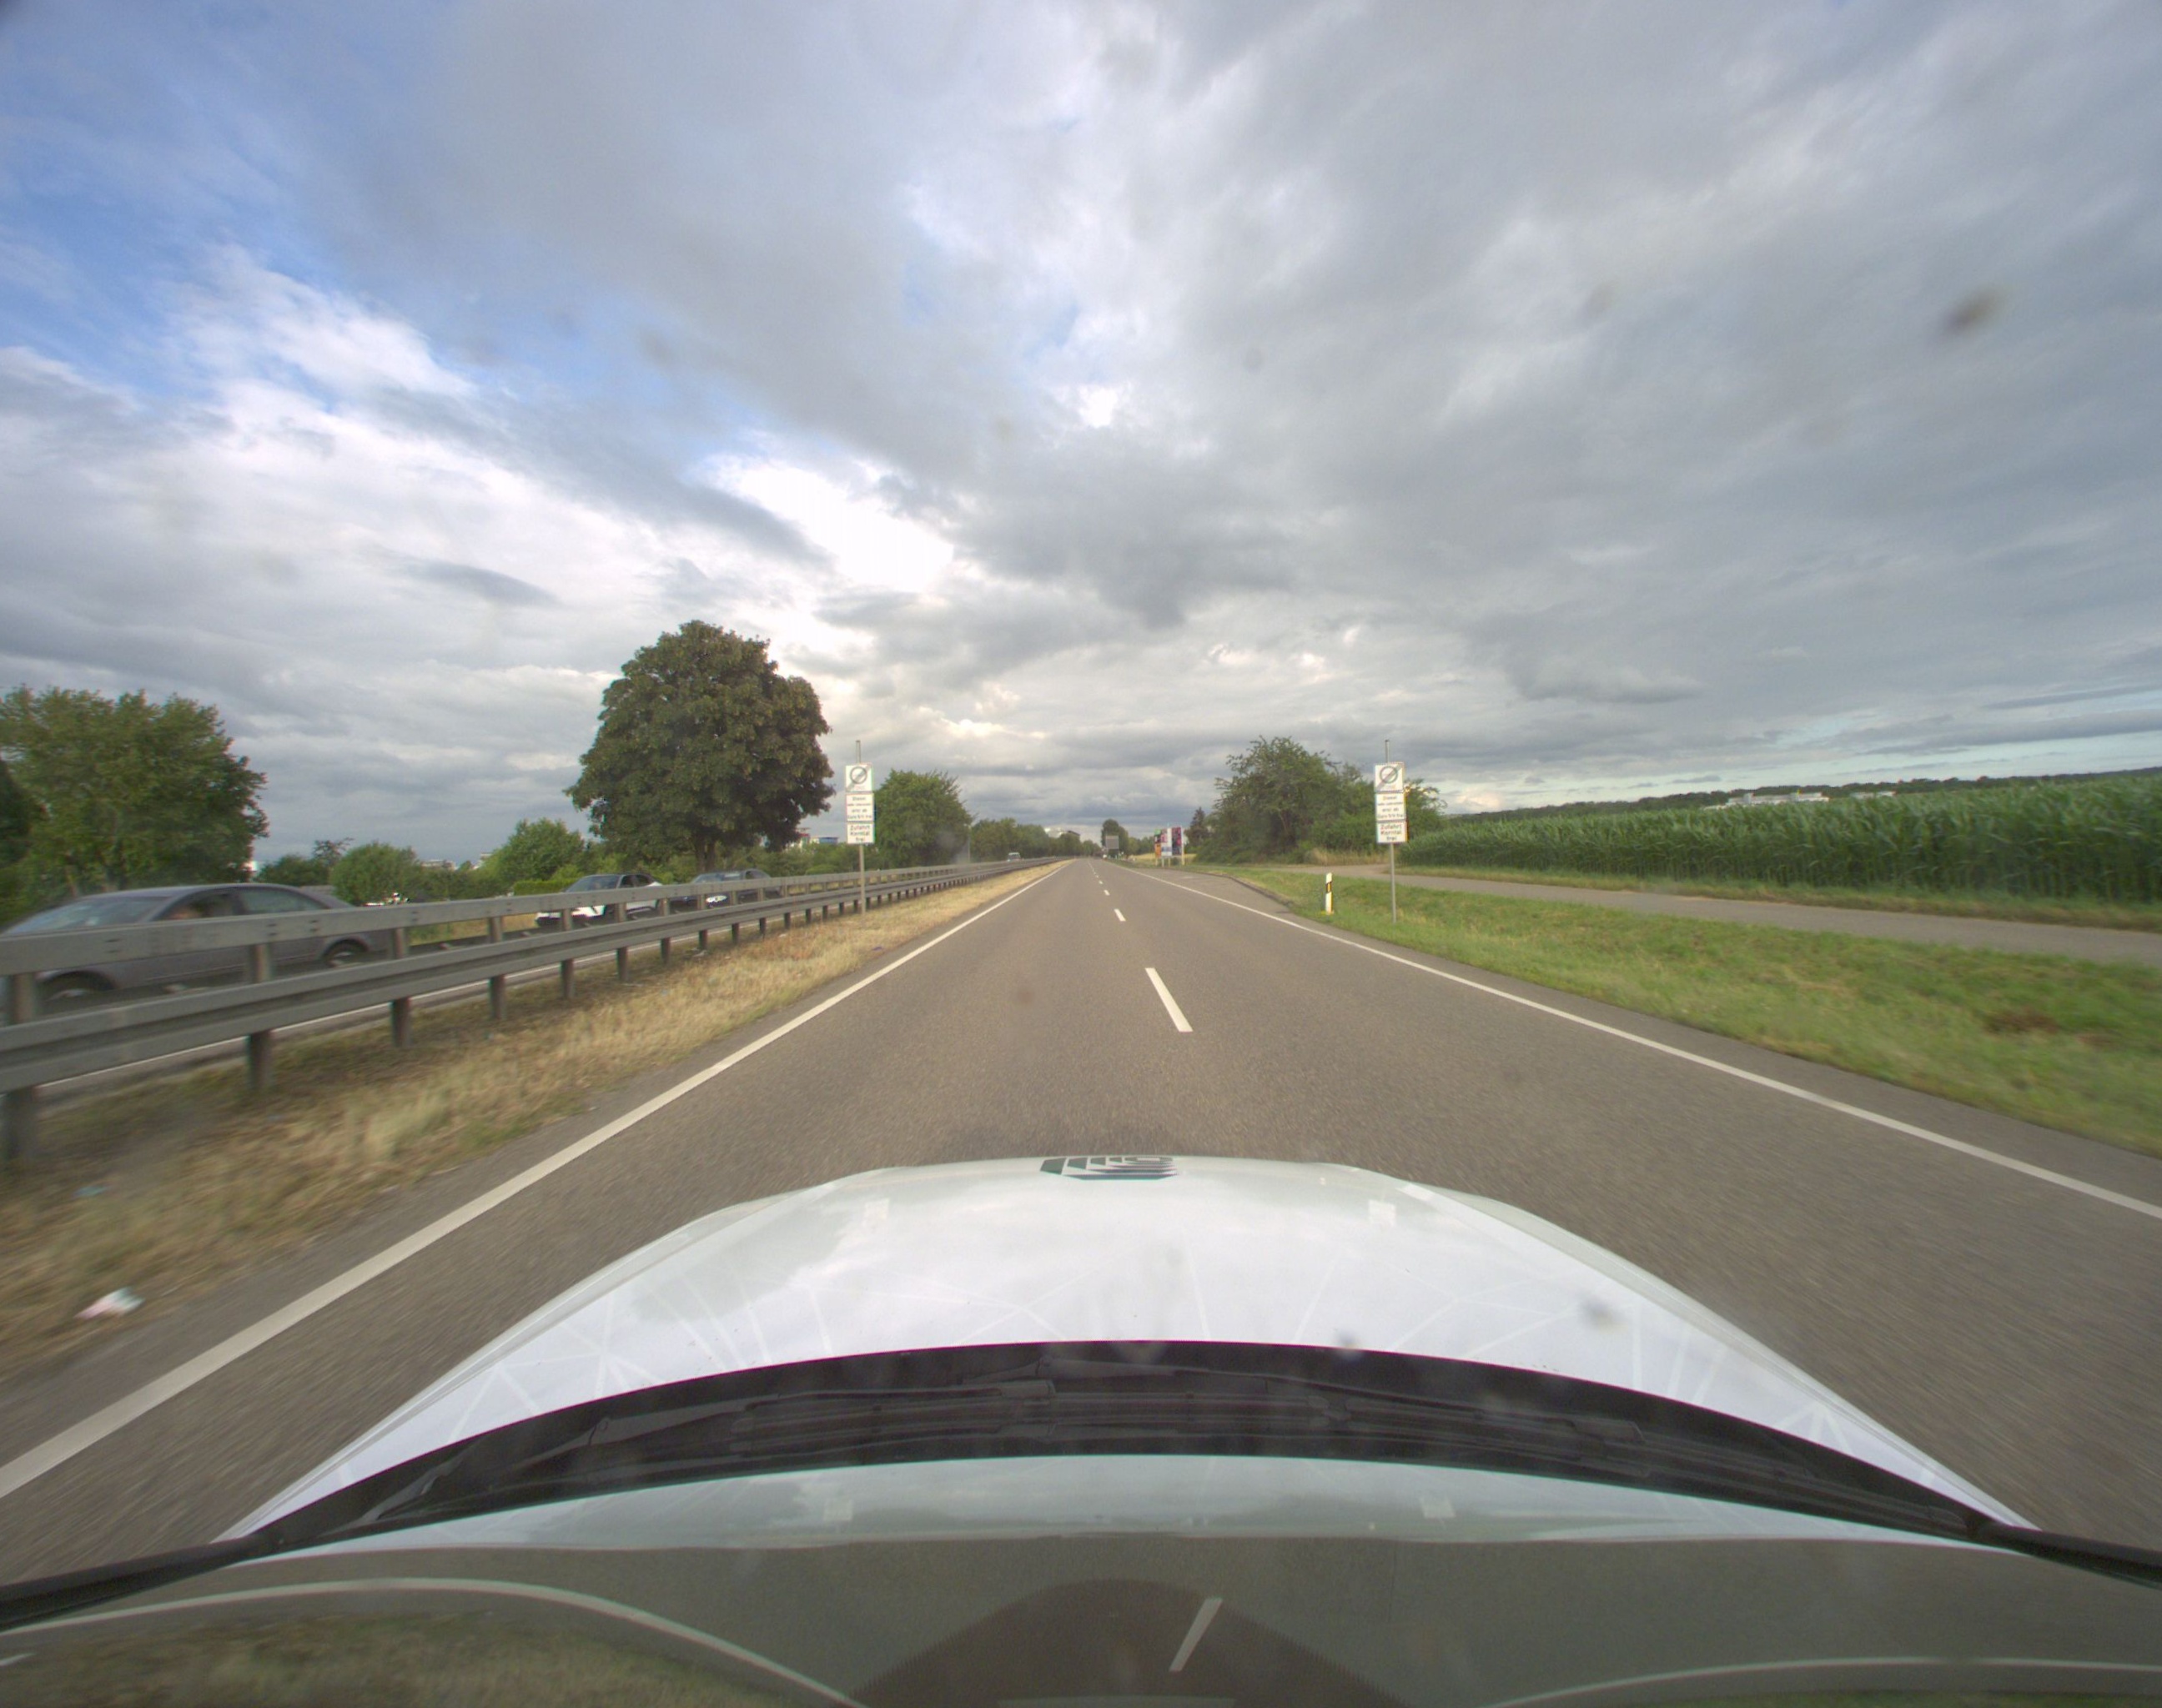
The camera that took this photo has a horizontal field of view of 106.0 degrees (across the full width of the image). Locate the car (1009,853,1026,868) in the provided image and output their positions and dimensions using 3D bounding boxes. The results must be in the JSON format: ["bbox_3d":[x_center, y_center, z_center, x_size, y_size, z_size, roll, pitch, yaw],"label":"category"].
[{"bbox_3d":[-9.534,1.007,122.382,1.986,2.140,5.320,-3,0,1],"label":"car"}]

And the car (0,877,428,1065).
[{"bbox_3d":[-10.151,1.101,9.033,1.860,1.477,4.825,-3,0,0],"label":"car"}]

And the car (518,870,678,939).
[{"bbox_3d":[-13.157,1.307,22.524,1.860,1.564,4.151,-3,0,0],"label":"car"}]

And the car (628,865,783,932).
[{"bbox_3d":[-9.974,1.101,22.153,1.860,1.477,4.934,-3,0,0],"label":"car"}]
